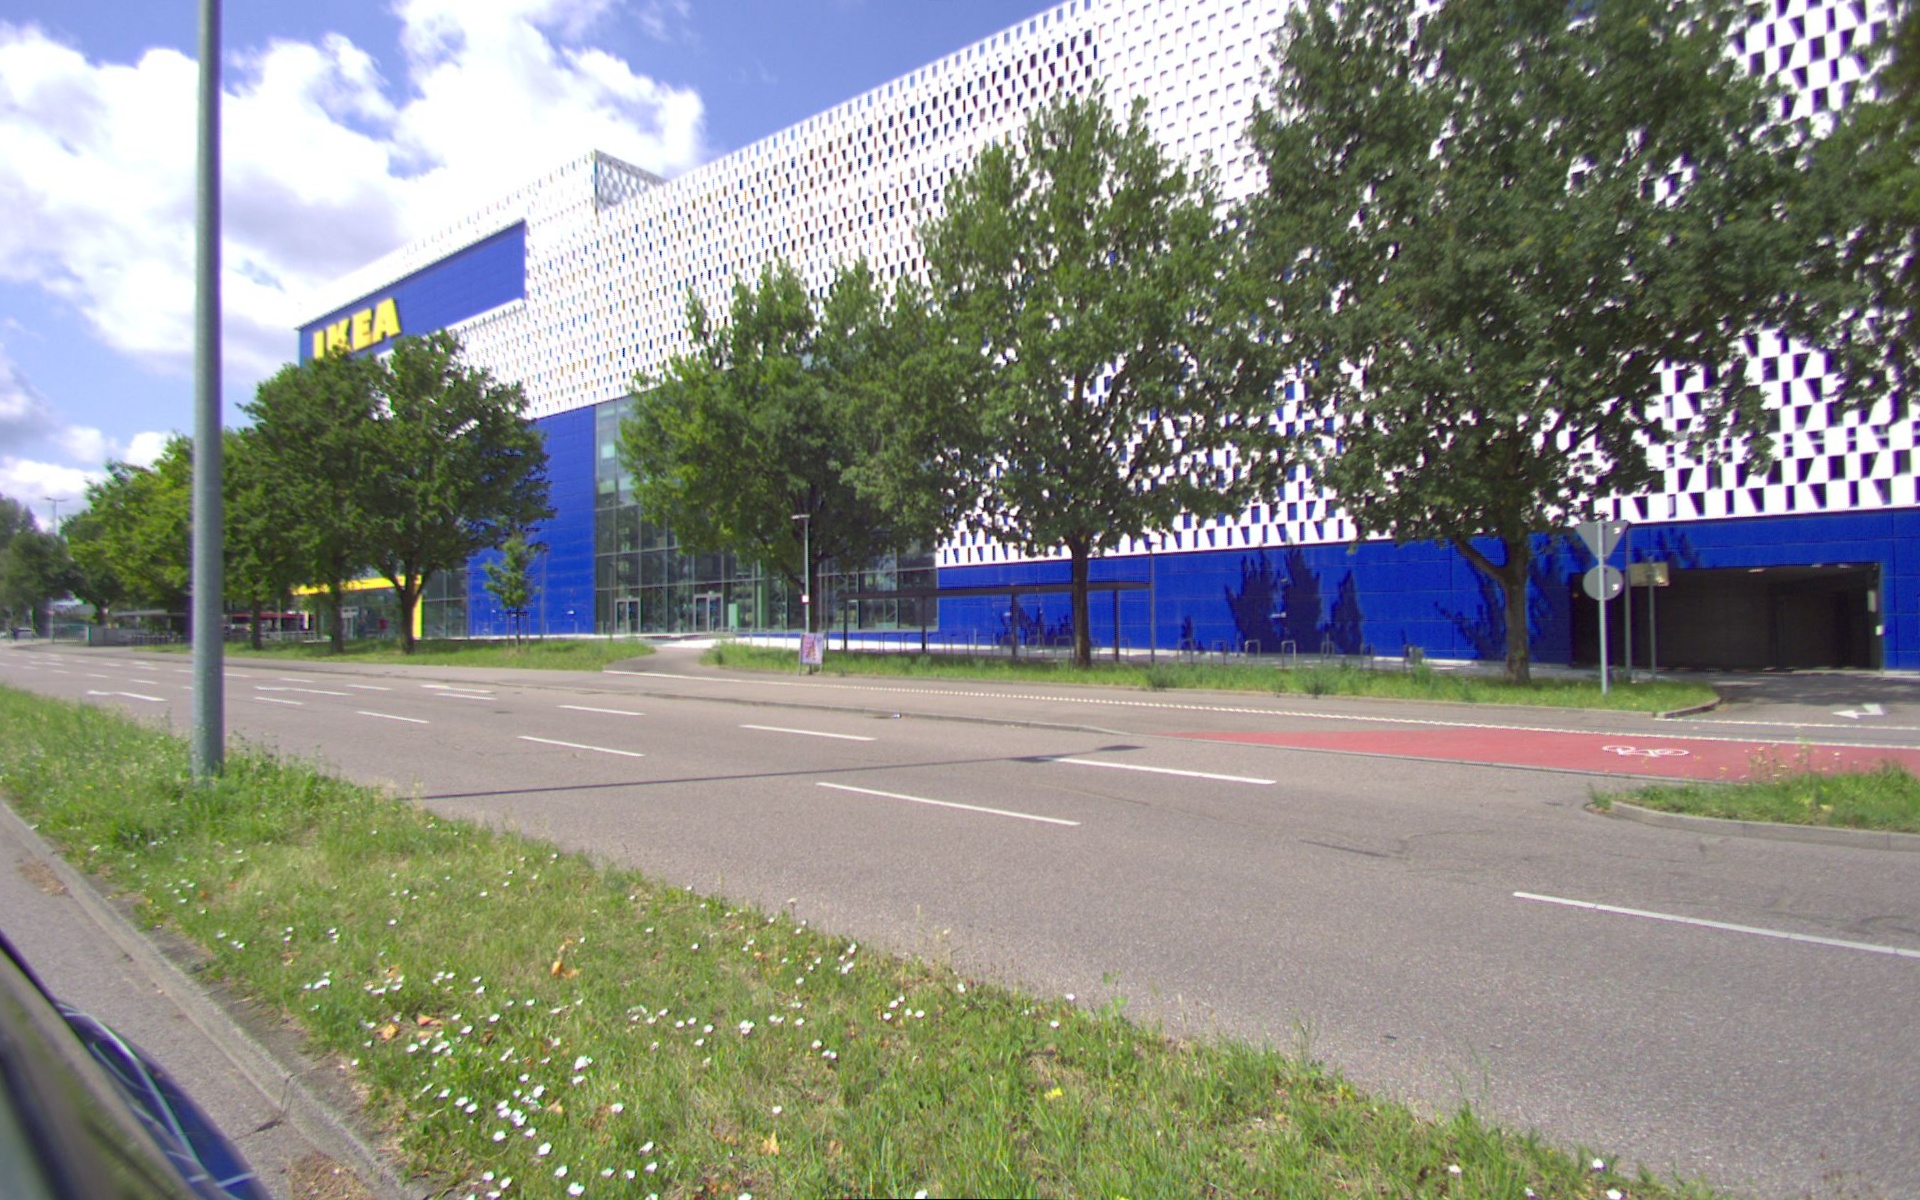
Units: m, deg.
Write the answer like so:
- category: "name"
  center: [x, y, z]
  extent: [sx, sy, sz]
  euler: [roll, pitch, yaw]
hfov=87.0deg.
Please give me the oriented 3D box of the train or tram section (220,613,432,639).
- category: "train or tram section"
  center: [-86.653, 3.727, 139.671]
  extent: [4.523, 3.055, 24.813]
  euler: [-2, -4, 37]

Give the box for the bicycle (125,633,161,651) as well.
- category: "bicycle"
  center: [-62.312, 3.175, 77.211]
  extent: [0.629, 1.282, 2.069]
  euler: [-3, -2, 38]

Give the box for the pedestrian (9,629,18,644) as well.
- category: "pedestrian"
  center: [-95.789, 3.678, 102.463]
  extent: [0.615, 1.502, 0.435]
  euler: [-1, -2, 22]

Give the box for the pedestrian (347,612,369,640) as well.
- category: "pedestrian"
  center: [-38.342, 1.657, 64.473]
  extent: [0.886, 1.715, 0.941]
  euler: [-2, -1, 39]

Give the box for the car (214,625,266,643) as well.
- category: "car"
  center: [-87.387, 4.165, 122.929]
  extent: [1.996, 2.029, 4.765]
  euler: [-3, -2, 35]

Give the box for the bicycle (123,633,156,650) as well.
- category: "bicycle"
  center: [-63.924, 3.209, 78.887]
  extent: [0.629, 1.282, 1.906]
  euler: [-3, -2, 38]

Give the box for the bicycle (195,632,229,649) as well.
- category: "bicycle"
  center: [-54.920, 2.998, 74.316]
  extent: [0.629, 1.188, 1.906]
  euler: [-3, -2, 38]

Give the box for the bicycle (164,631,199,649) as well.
- category: "bicycle"
  center: [-55.437, 2.851, 72.082]
  extent: [0.629, 1.192, 1.906]
  euler: [-3, -2, 38]

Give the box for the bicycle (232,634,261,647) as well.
- category: "bicycle"
  center: [-60.906, 3.456, 86.394]
  extent: [0.519, 1.098, 1.913]
  euler: [-3, -2, 34]

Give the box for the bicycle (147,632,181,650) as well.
- category: "bicycle"
  center: [-59.163, 3.037, 75.225]
  extent: [0.629, 1.282, 1.906]
  euler: [-3, -2, 38]

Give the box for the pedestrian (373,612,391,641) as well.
- category: "pedestrian"
  center: [-37.587, 1.715, 65.826]
  extent: [0.886, 1.836, 0.746]
  euler: [-2, -1, 39]

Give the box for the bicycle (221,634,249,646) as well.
- category: "bicycle"
  center: [-63.061, 3.472, 88.035]
  extent: [0.527, 1.078, 1.918]
  euler: [-1, -1, 34]

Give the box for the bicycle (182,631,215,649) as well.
- category: "bicycle"
  center: [-57.932, 3.023, 76.968]
  extent: [0.629, 1.282, 1.906]
  euler: [-3, -2, 38]

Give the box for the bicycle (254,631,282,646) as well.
- category: "bicycle"
  center: [-58.332, 3.219, 85.296]
  extent: [0.527, 1.219, 1.918]
  euler: [-1, -1, 34]

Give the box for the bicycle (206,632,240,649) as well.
- category: "bicycle"
  center: [-53.266, 2.910, 73.169]
  extent: [0.629, 1.193, 1.906]
  euler: [-3, -2, 38]

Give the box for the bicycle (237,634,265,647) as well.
- category: "bicycle"
  center: [-60.074, 3.412, 85.761]
  extent: [0.527, 1.078, 1.918]
  euler: [-1, -1, 34]

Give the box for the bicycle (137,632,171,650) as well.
- category: "bicycle"
  center: [-61.042, 3.081, 76.669]
  extent: [0.629, 1.282, 1.906]
  euler: [-3, -2, 38]

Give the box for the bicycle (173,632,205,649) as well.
- category: "bicycle"
  center: [-59.712, 3.154, 78.390]
  extent: [0.629, 1.282, 1.906]
  euler: [-3, -2, 38]
